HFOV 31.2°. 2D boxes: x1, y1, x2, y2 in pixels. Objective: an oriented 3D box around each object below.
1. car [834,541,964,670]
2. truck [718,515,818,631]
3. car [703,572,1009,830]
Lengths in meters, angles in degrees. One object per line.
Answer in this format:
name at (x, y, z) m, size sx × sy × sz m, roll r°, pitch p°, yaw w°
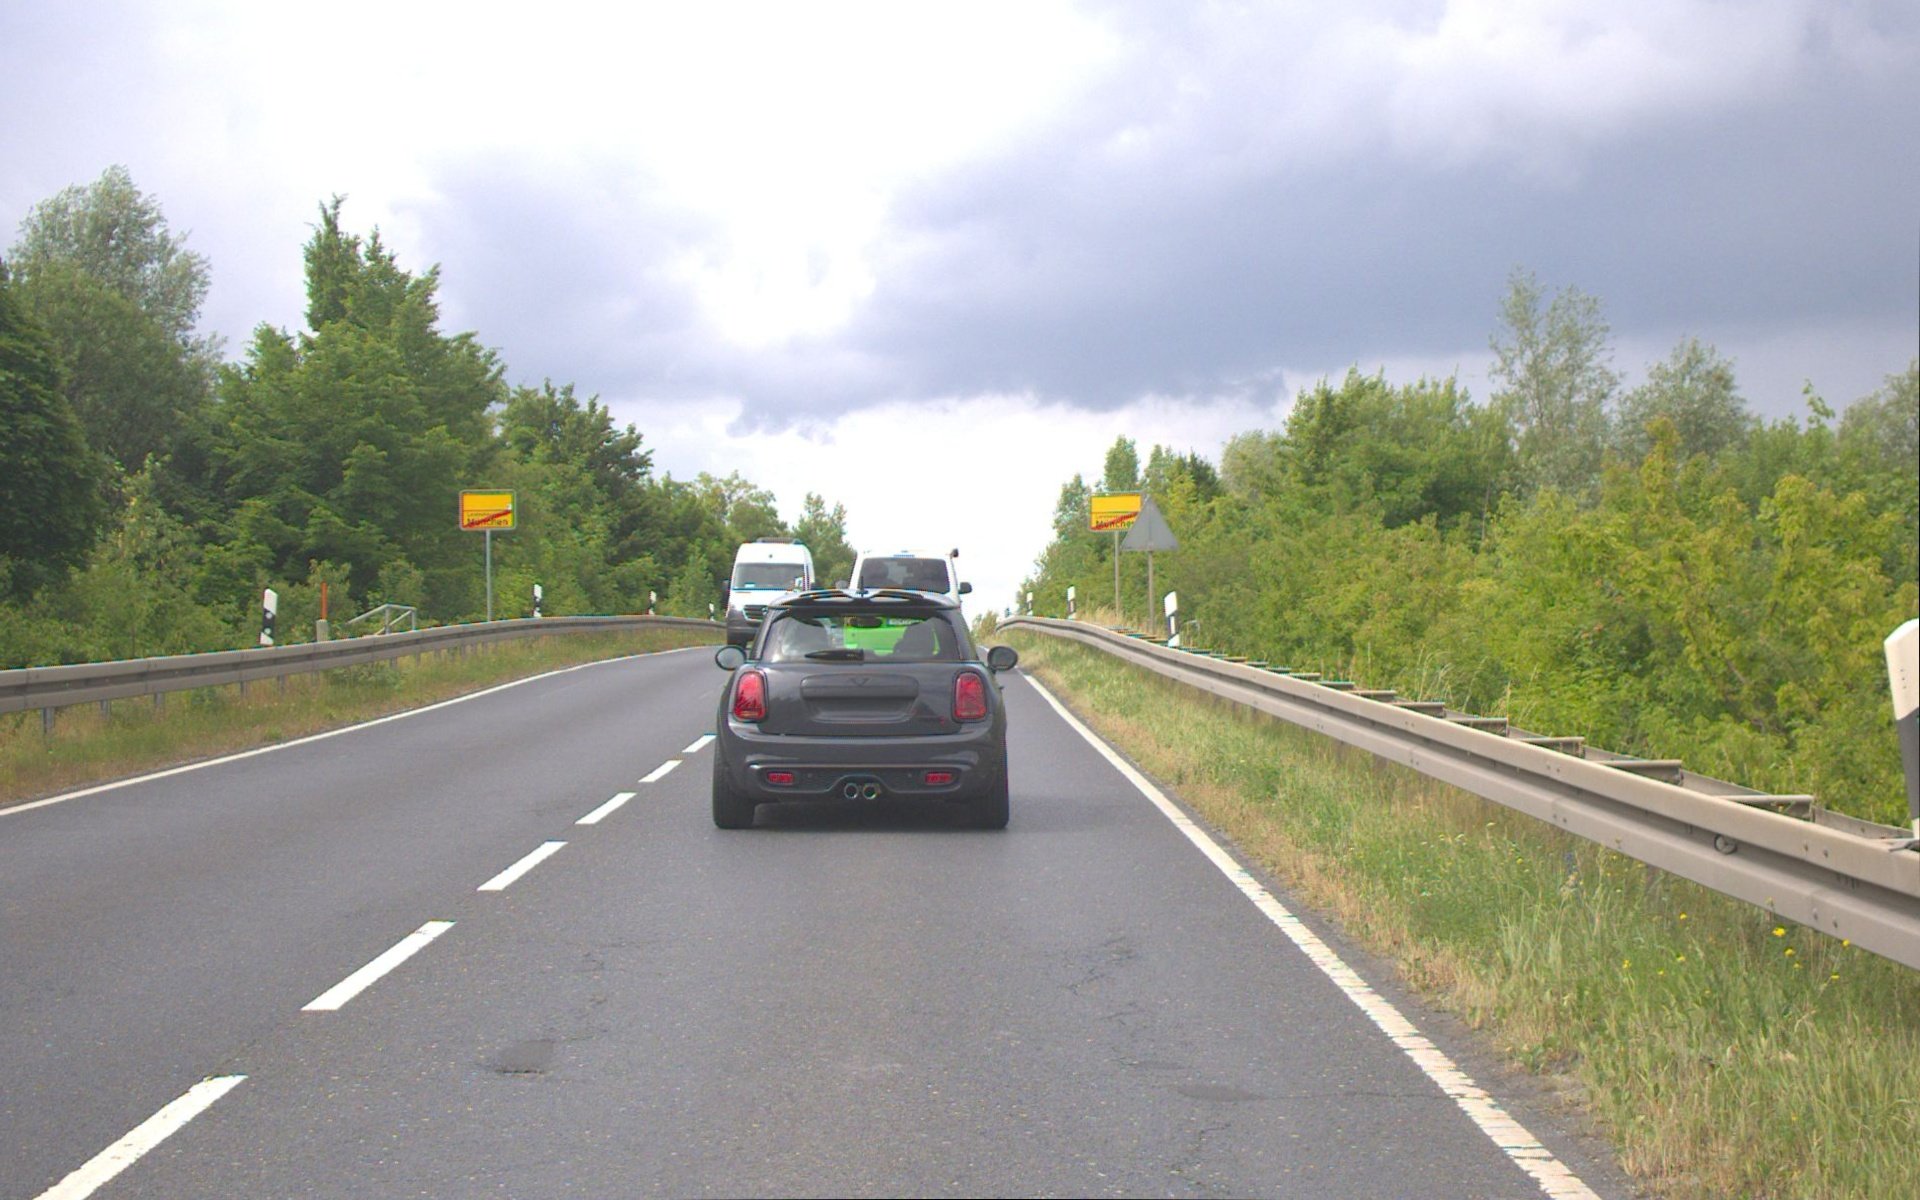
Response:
car at (-1.005, 0.079, 55.347) m, size 2.022 × 2.006 × 4.000 m, roll 0°, pitch 0°, yaw -2°
truck at (-4.716, -0.688, 85.357) m, size 2.065 × 2.733 × 7.007 m, roll -1°, pitch 1°, yaw 0°
car at (-0.648, 0.565, 21.599) m, size 1.732 × 1.451 × 4.000 m, roll 1°, pitch 0°, yaw -2°
